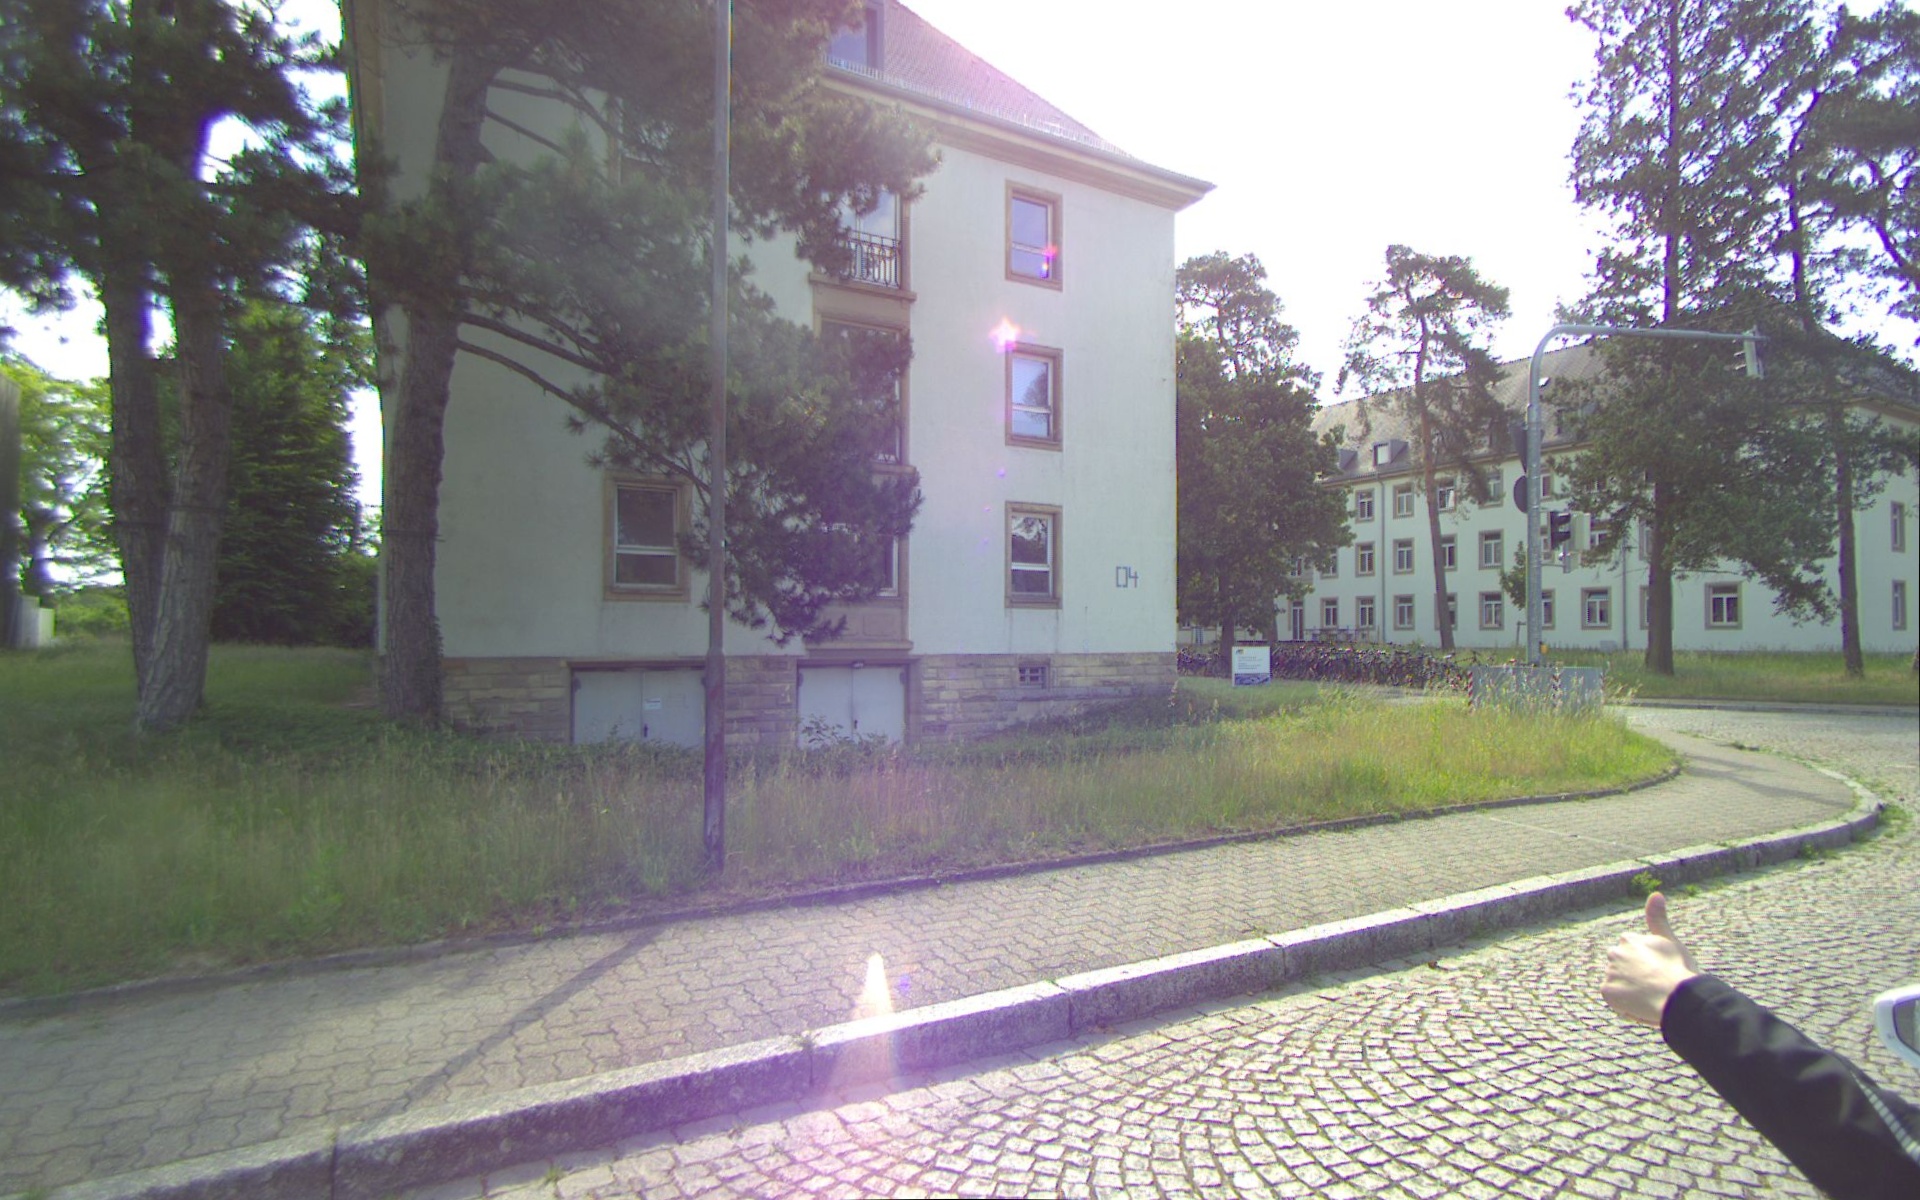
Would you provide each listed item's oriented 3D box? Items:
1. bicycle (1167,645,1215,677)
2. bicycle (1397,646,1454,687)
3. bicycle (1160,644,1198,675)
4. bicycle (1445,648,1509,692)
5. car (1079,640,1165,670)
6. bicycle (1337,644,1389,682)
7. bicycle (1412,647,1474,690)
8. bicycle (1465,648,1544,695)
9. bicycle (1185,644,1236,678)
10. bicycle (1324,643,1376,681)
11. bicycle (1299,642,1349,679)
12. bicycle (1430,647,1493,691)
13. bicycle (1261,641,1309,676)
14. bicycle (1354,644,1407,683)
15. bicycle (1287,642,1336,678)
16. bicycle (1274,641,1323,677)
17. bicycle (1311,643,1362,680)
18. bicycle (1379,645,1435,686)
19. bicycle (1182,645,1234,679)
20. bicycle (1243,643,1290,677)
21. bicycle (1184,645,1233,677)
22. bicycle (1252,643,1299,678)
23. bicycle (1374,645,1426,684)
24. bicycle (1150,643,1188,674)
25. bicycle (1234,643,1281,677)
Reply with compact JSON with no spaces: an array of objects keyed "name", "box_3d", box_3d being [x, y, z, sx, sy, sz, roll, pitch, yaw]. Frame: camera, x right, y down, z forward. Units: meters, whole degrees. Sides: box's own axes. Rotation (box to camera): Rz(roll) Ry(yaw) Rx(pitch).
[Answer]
[{"name":"bicycle","box_3d":[8.962,2.359,38.990,1.792,1.236,0.516,0,-2,7]},{"name":"bicycle","box_3d":[14.394,2.040,31.043,1.966,1.236,0.569,1,-2,-31]},{"name":"bicycle","box_3d":[8.852,2.377,40.492,1.814,1.236,0.510,2,-3,-41]},{"name":"bicycle","box_3d":[15.017,2.010,29.157,2.089,1.236,0.630,1,-2,-31]},{"name":"car","box_3d":[7.058,2.372,43.678,3.549,1.227,1.504,1,-2,-28]},{"name":"bicycle","box_3d":[13.377,2.070,33.320,1.954,1.236,0.512,1,-2,-31]},{"name":"bicycle","box_3d":[14.484,2.023,30.103,2.080,1.236,0.630,1,-2,-31]},{"name":"bicycle","box_3d":[14.986,1.937,27.679,0.627,1.236,1.853,1,-2,-29]},{"name":"bicycle","box_3d":[9.458,2.305,37.993,1.794,1.236,0.515,-1,-2,25]},{"name":"bicycle","box_3d":[13.118,2.072,33.768,1.954,1.236,0.512,1,-2,-31]},{"name":"bicycle","box_3d":[12.572,2.079,34.699,1.915,1.236,0.512,1,-2,-31]},{"name":"bicycle","box_3d":[14.773,2.016,29.573,2.099,1.236,0.630,1,-2,-31]},{"name":"bicycle","box_3d":[11.741,2.098,36.237,1.915,1.236,0.512,1,-2,-31]},{"name":"bicycle","box_3d":[13.733,2.065,32.780,1.992,1.236,0.512,1,-2,-31]},{"name":"bicycle","box_3d":[12.324,2.086,35.185,1.915,1.236,0.512,1,-2,-31]},{"name":"bicycle","box_3d":[12.049,2.092,35.711,1.915,1.236,0.512,1,-2,-31]},{"name":"bicycle","box_3d":[12.834,2.073,34.210,1.931,1.236,0.512,1,-2,-31]},{"name":"bicycle","box_3d":[14.138,2.052,31.760,2.005,1.236,0.576,1,-2,-31]},{"name":"bicycle","box_3d":[9.221,2.297,37.390,1.794,1.236,0.515,-1,-2,25]},{"name":"bicycle","box_3d":[11.307,2.200,37.014,1.915,1.236,0.512,1,-2,-31]},{"name":"bicycle","box_3d":[9.758,2.380,39.456,1.792,1.236,0.516,0,-2,7]},{"name":"bicycle","box_3d":[11.517,2.196,36.640,1.915,1.236,0.512,1,-2,-31]},{"name":"bicycle","box_3d":[14.217,2.064,32.472,1.877,1.236,0.545,1,-2,-31]},{"name":"bicycle","box_3d":[8.542,2.382,41.012,1.813,1.236,0.510,2,-2,-38]},{"name":"bicycle","box_3d":[11.094,2.205,37.408,1.915,1.236,0.512,1,-2,-31]}]
